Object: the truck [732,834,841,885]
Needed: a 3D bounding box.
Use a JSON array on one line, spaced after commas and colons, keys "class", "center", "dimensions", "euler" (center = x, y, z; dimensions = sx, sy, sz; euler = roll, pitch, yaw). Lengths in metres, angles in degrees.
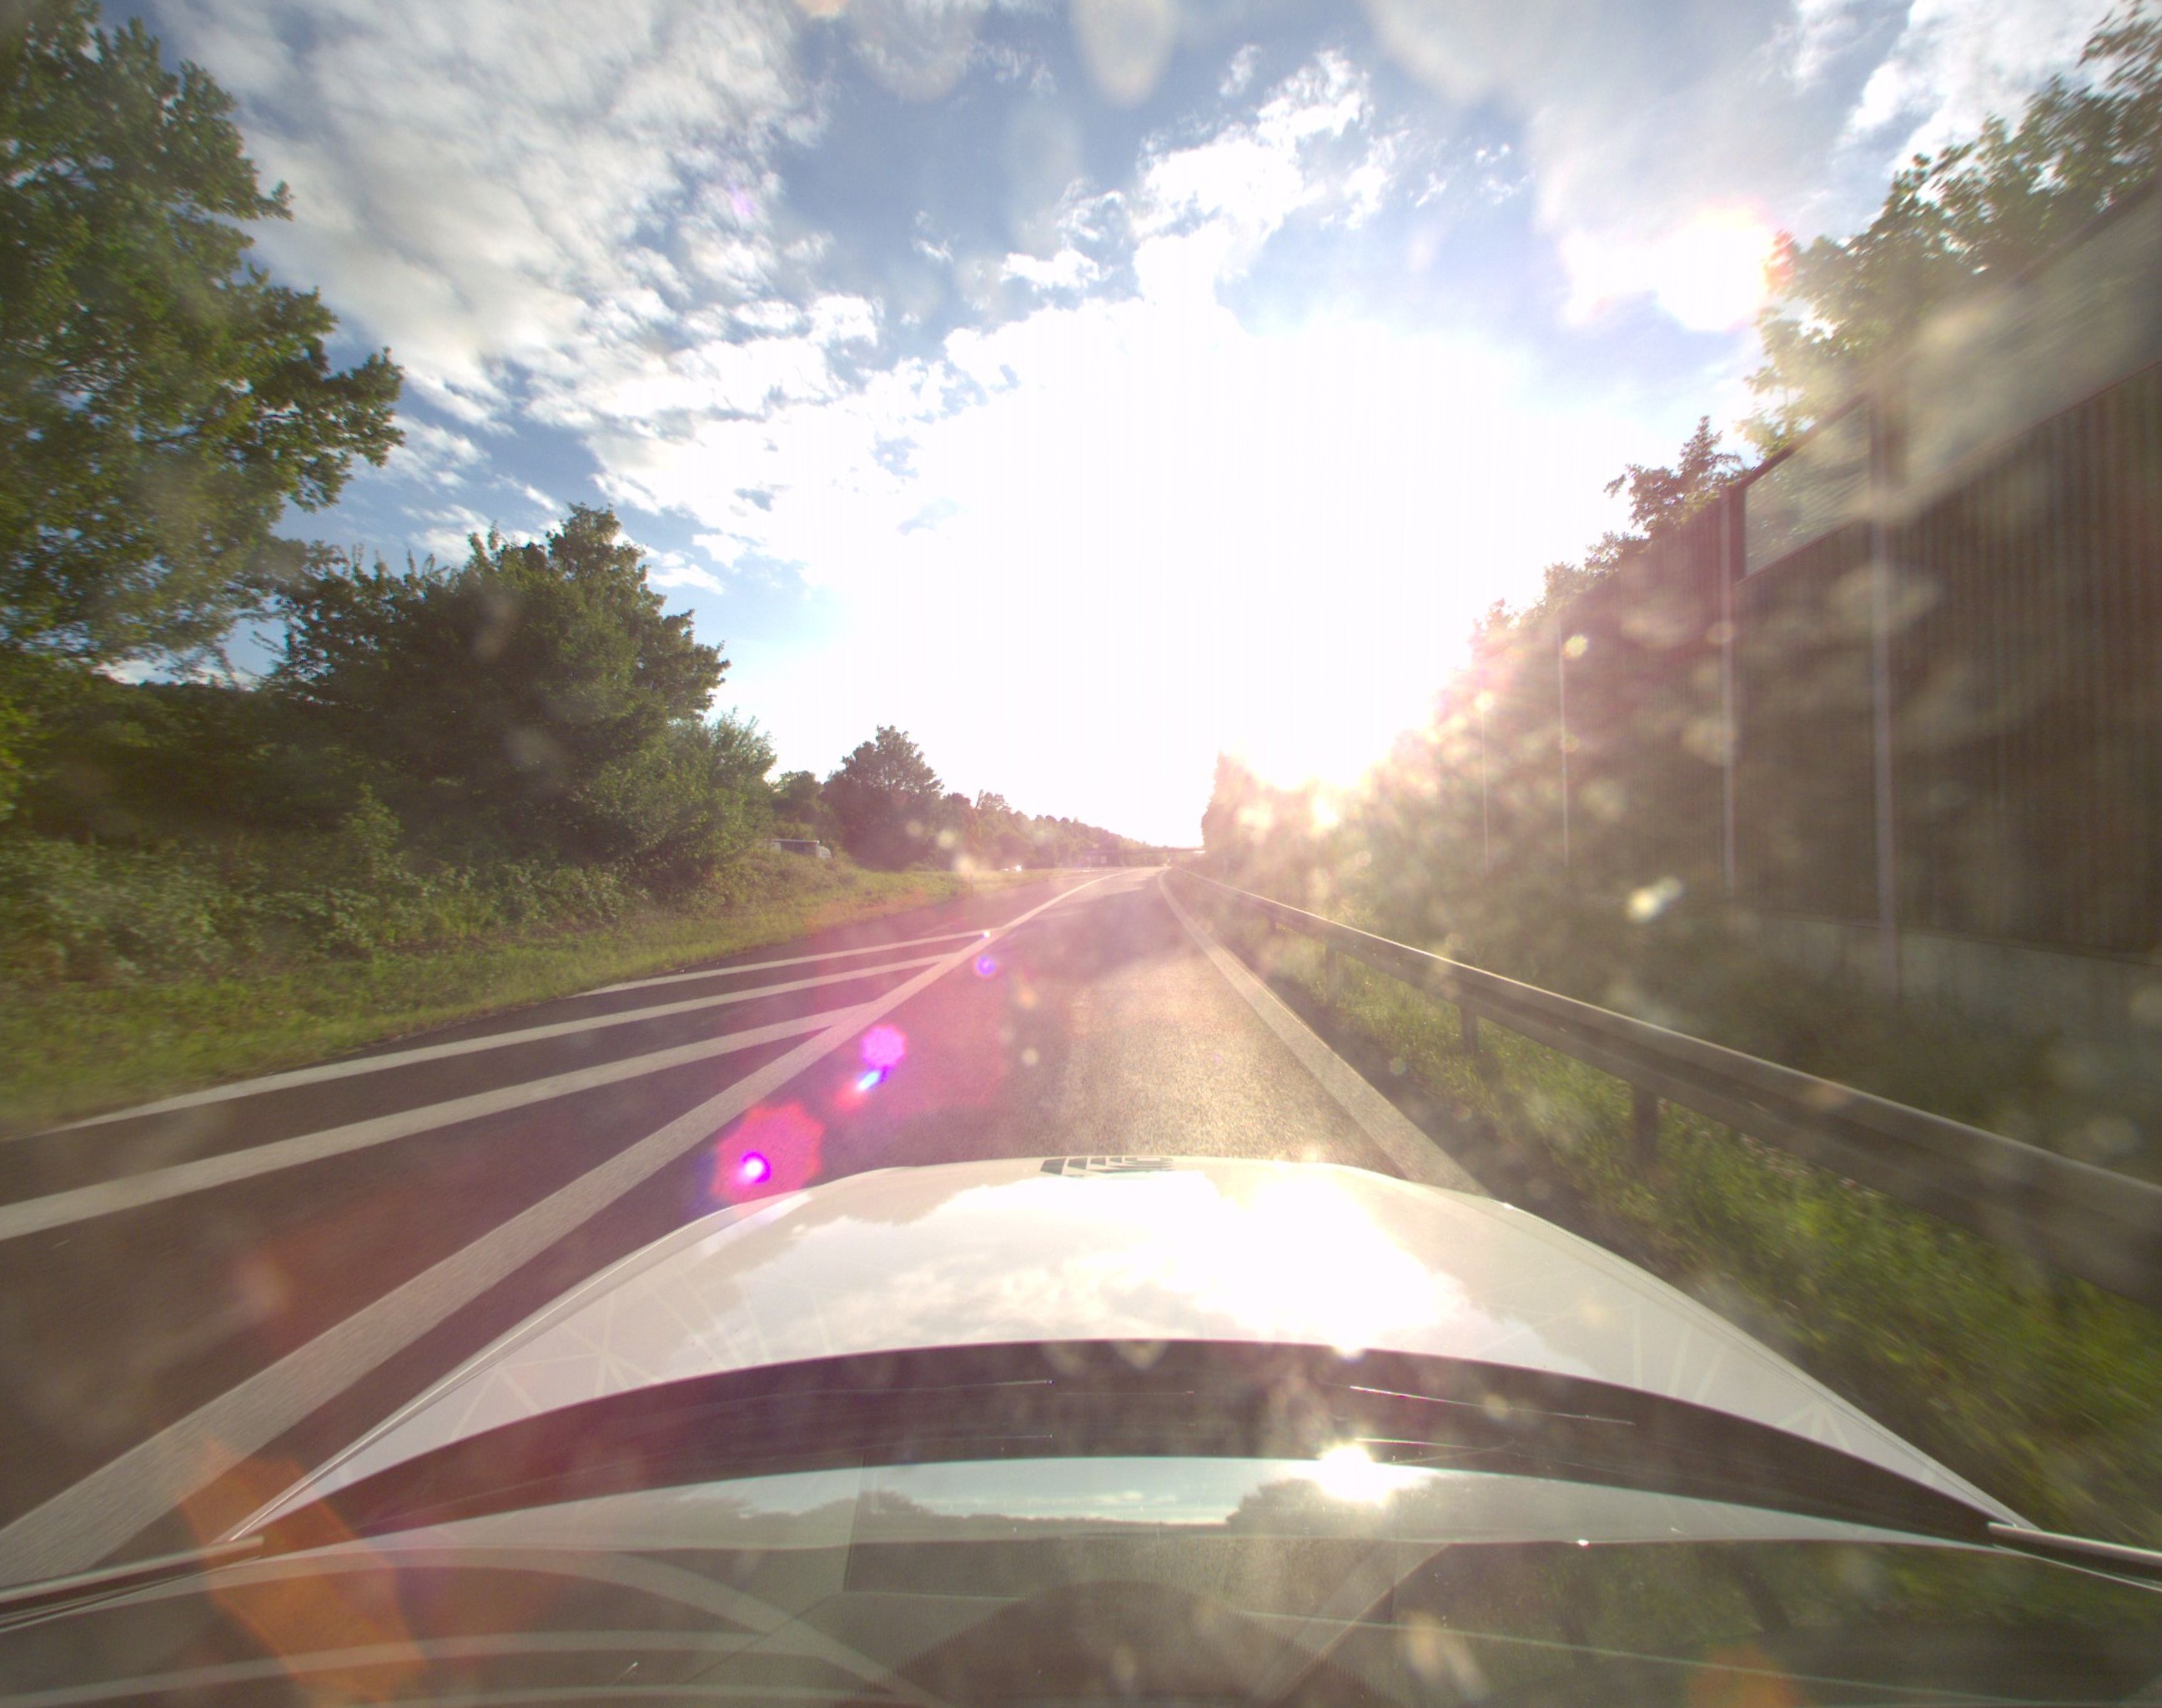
[{"class": "truck", "center": [-23.674, 0.462, 66.161], "dimensions": [2.897, 3.789, 9.709], "euler": [-2, -1, 18]}]
